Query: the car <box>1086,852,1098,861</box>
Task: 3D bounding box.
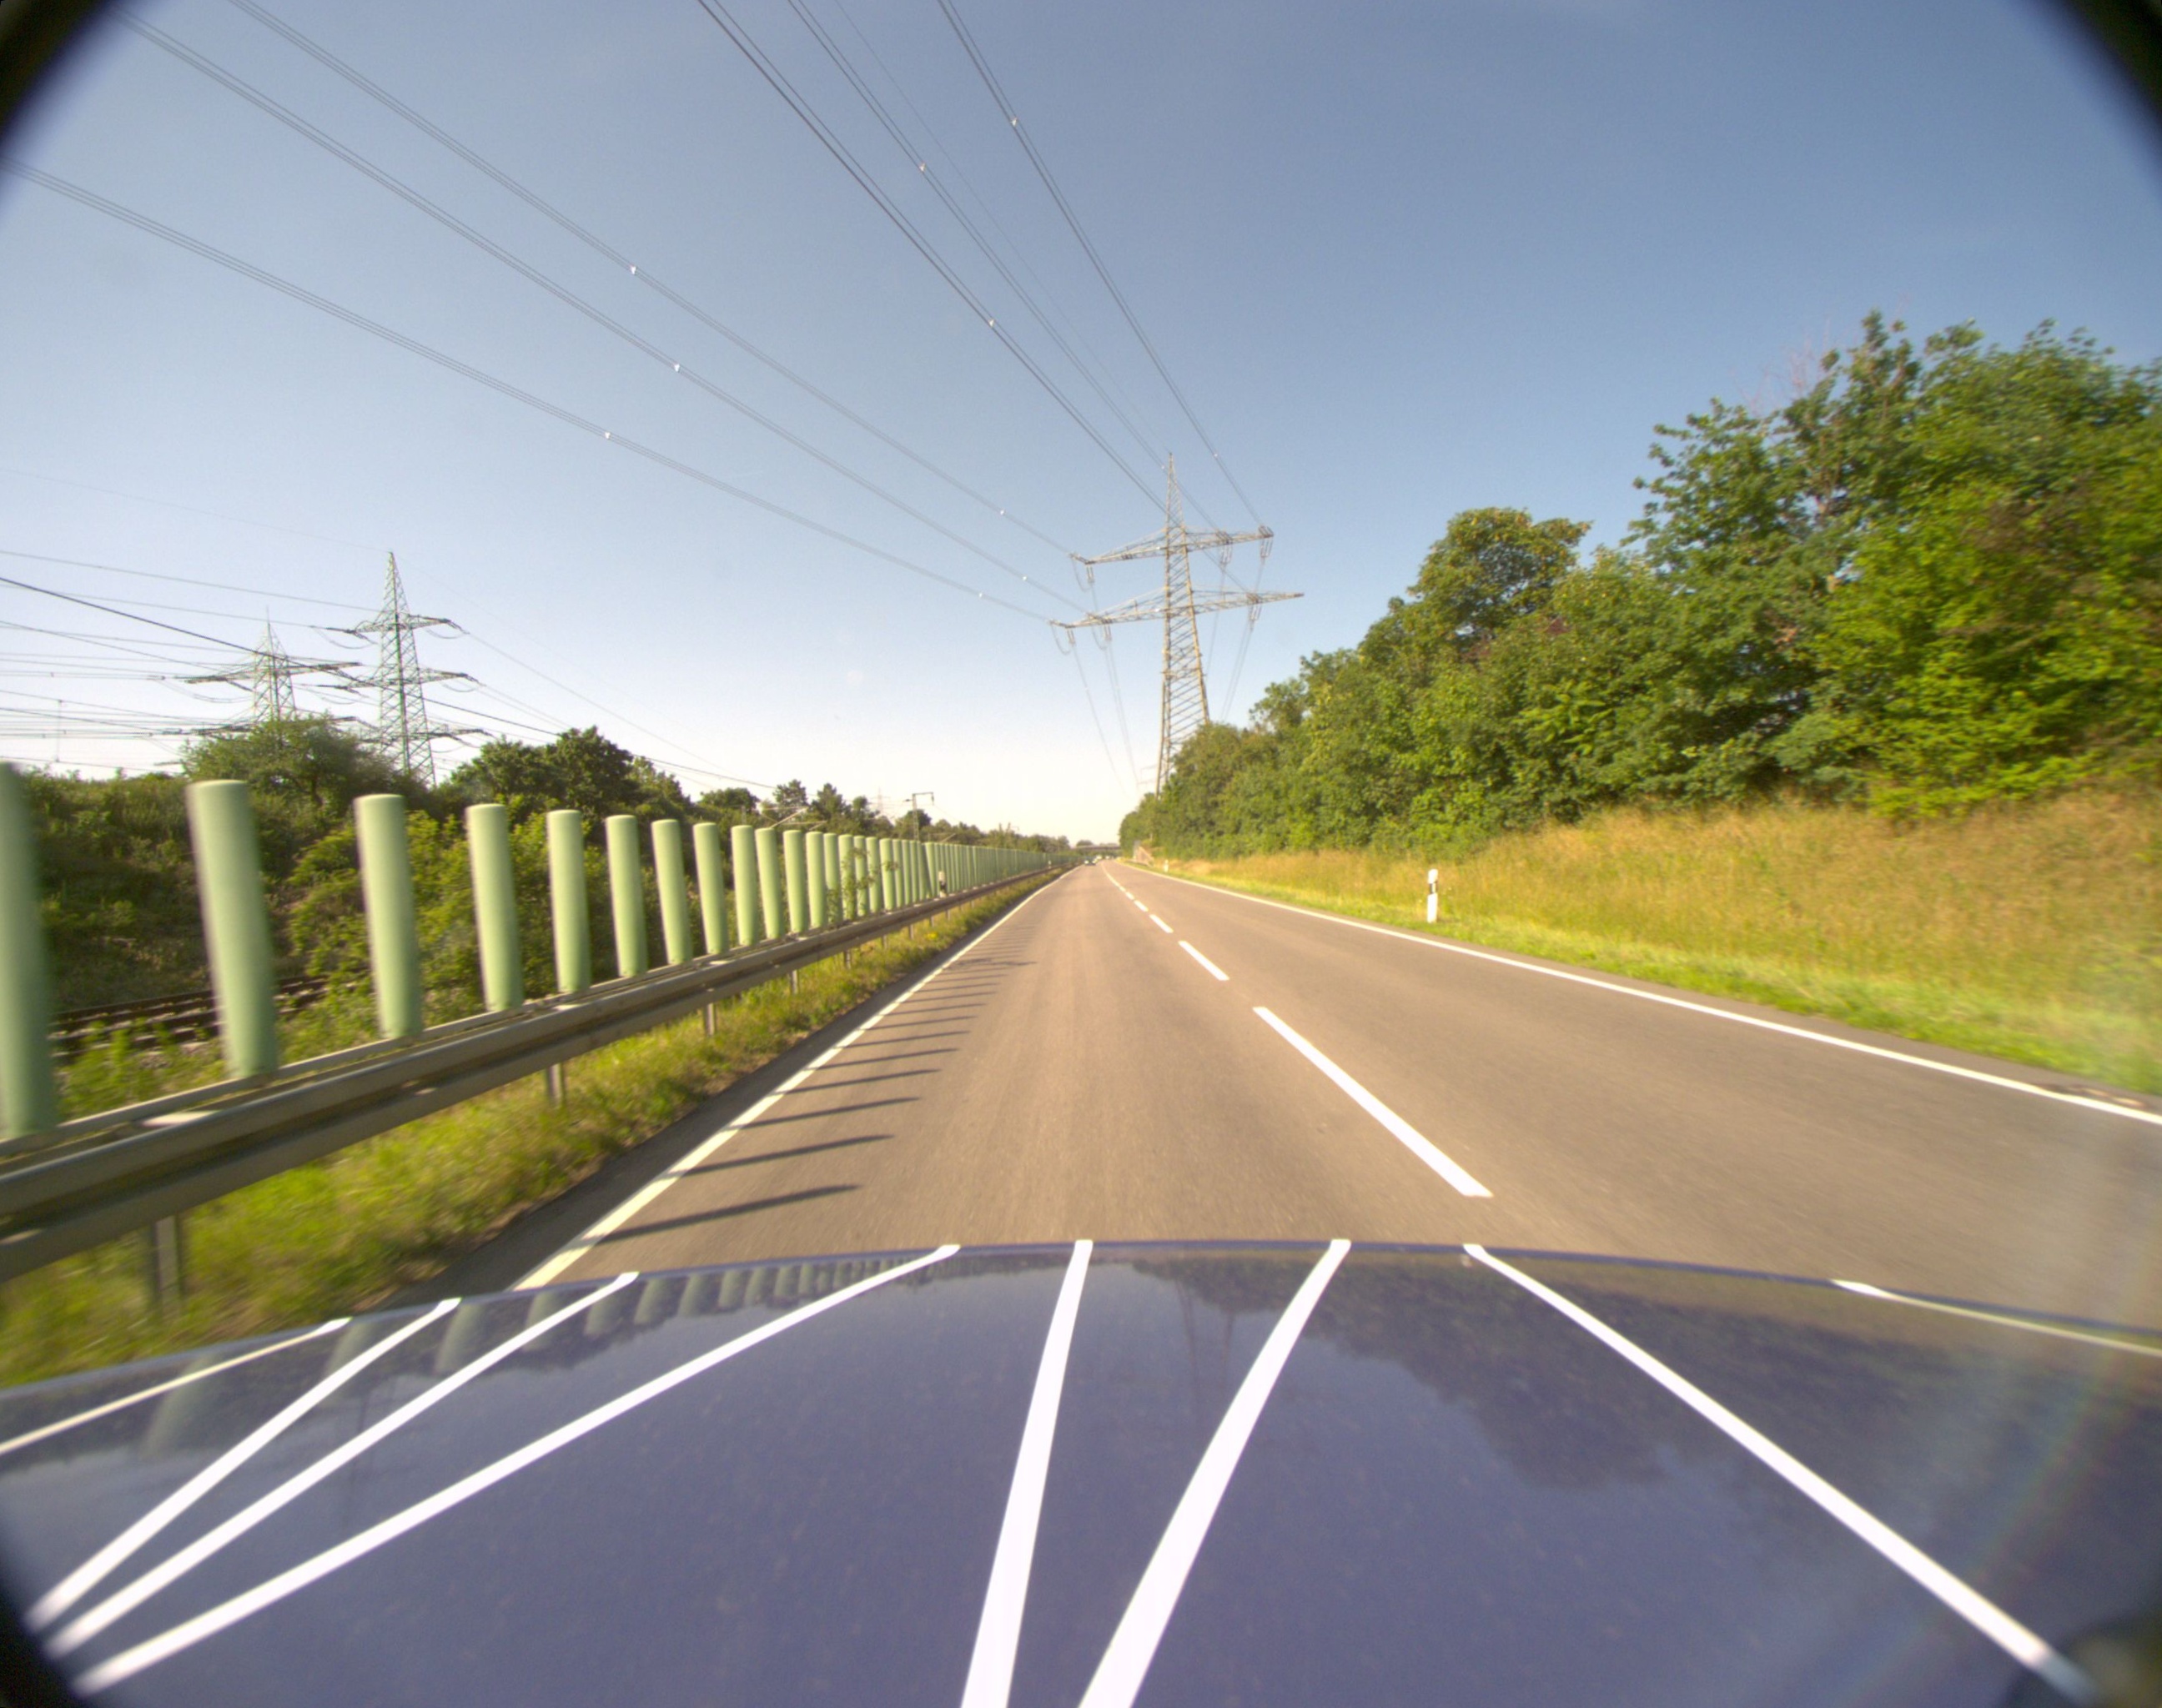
[{"bbox_3d":[1.909,0.407,130.200,1.787,1.550,4.000,-2,0,2],"label":"car"}]
